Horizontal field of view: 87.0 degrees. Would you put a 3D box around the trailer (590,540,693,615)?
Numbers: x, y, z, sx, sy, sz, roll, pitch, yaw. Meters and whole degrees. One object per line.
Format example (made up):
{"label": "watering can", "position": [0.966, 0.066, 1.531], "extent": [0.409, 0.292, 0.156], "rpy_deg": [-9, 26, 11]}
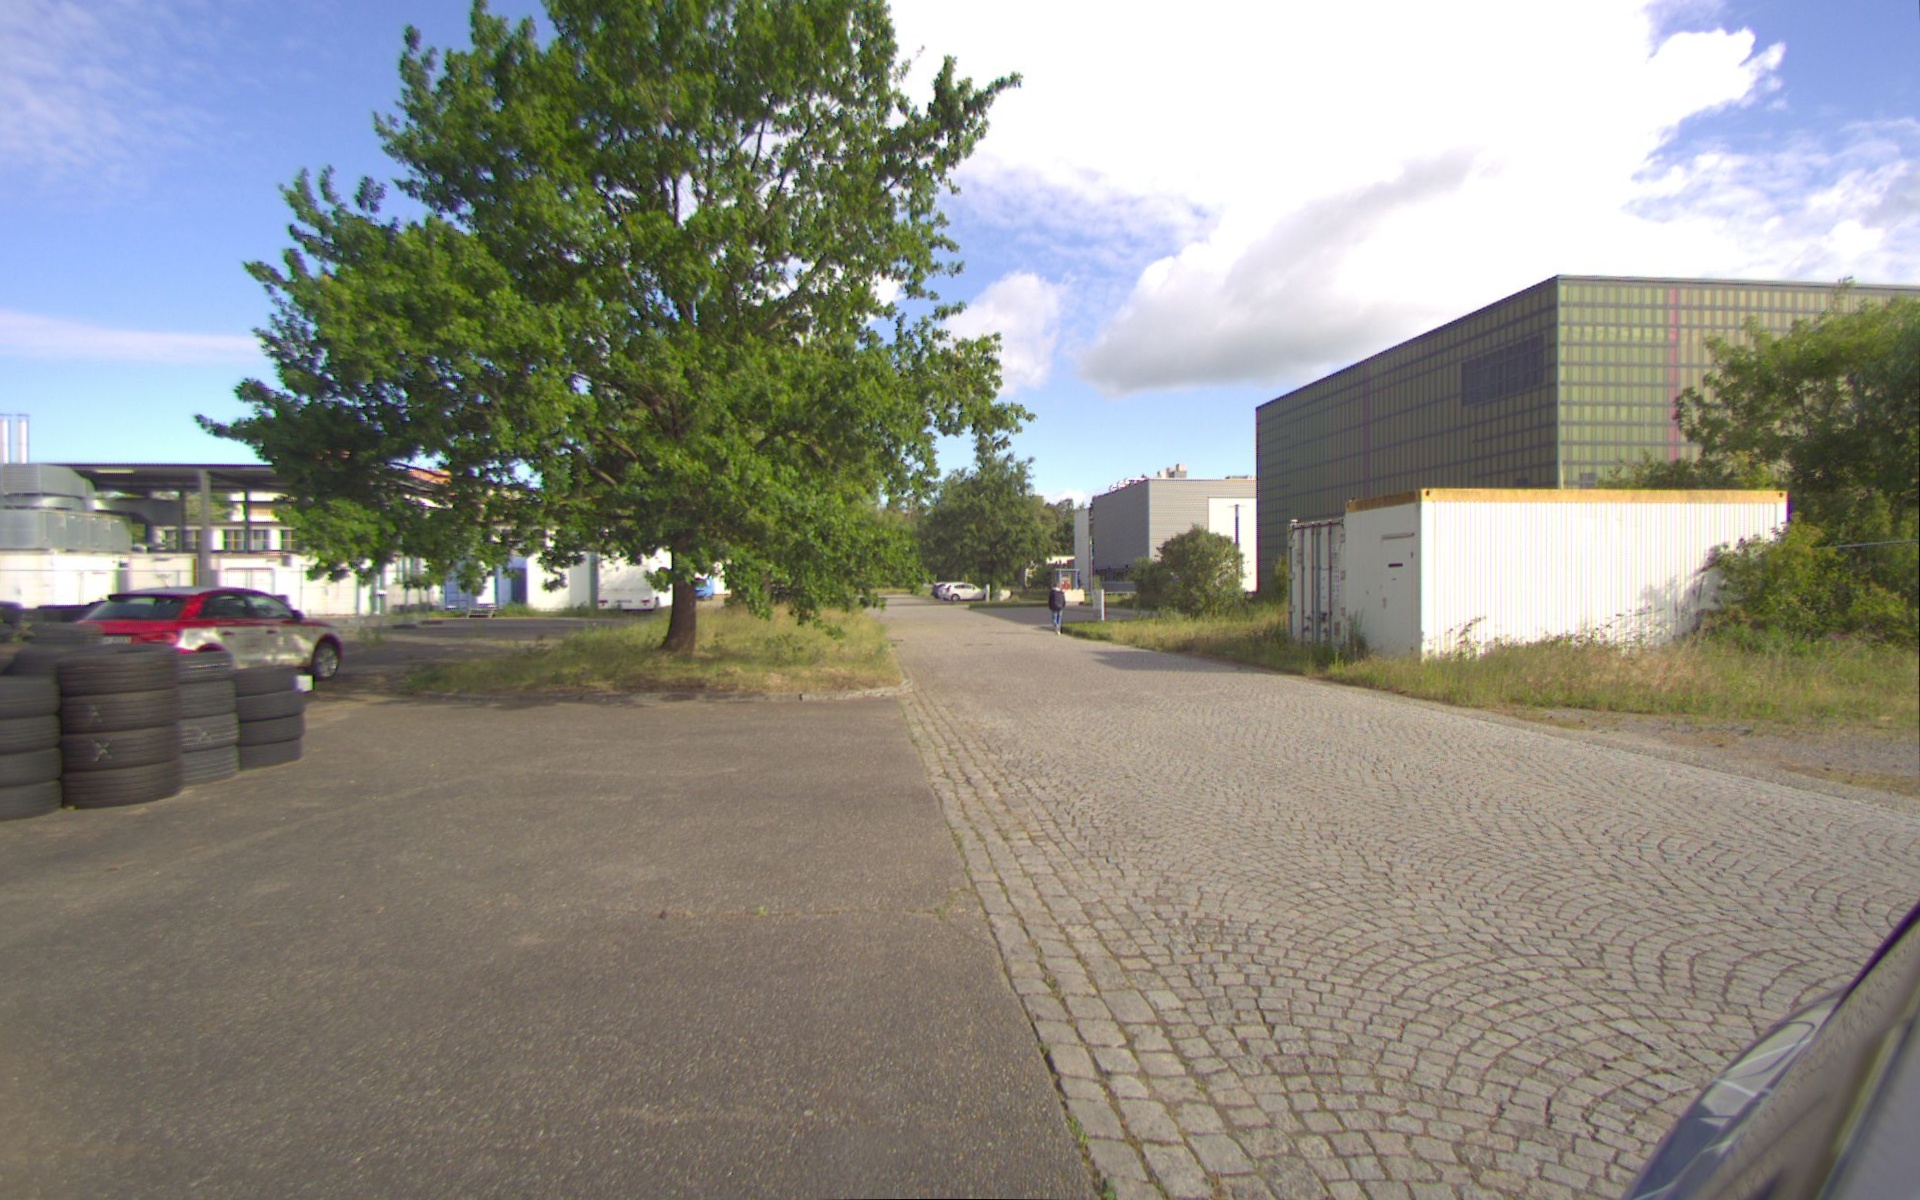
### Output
{"label": "trailer", "position": [-16.180, -1.136, 52.198], "extent": [2.868, 3.514, 9.910], "rpy_deg": [-1, 1, -4]}

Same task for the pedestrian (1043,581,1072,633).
{"label": "pedestrian", "position": [2.996, 0.197, 31.289], "extent": [0.852, 1.578, 1.027], "rpy_deg": [-1, 0, 5]}

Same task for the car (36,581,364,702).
{"label": "car", "position": [-10.593, 0.486, 14.538], "extent": [1.695, 1.482, 4.000], "rpy_deg": [0, 1, 0]}

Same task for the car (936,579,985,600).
{"label": "car", "position": [0.031, -0.854, 81.690], "extent": [3.924, 1.663, 2.000], "rpy_deg": [0, 1, 0]}

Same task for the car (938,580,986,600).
{"label": "car", "position": [0.131, -0.830, 84.330], "extent": [3.924, 1.663, 2.000], "rpy_deg": [0, 1, 0]}
